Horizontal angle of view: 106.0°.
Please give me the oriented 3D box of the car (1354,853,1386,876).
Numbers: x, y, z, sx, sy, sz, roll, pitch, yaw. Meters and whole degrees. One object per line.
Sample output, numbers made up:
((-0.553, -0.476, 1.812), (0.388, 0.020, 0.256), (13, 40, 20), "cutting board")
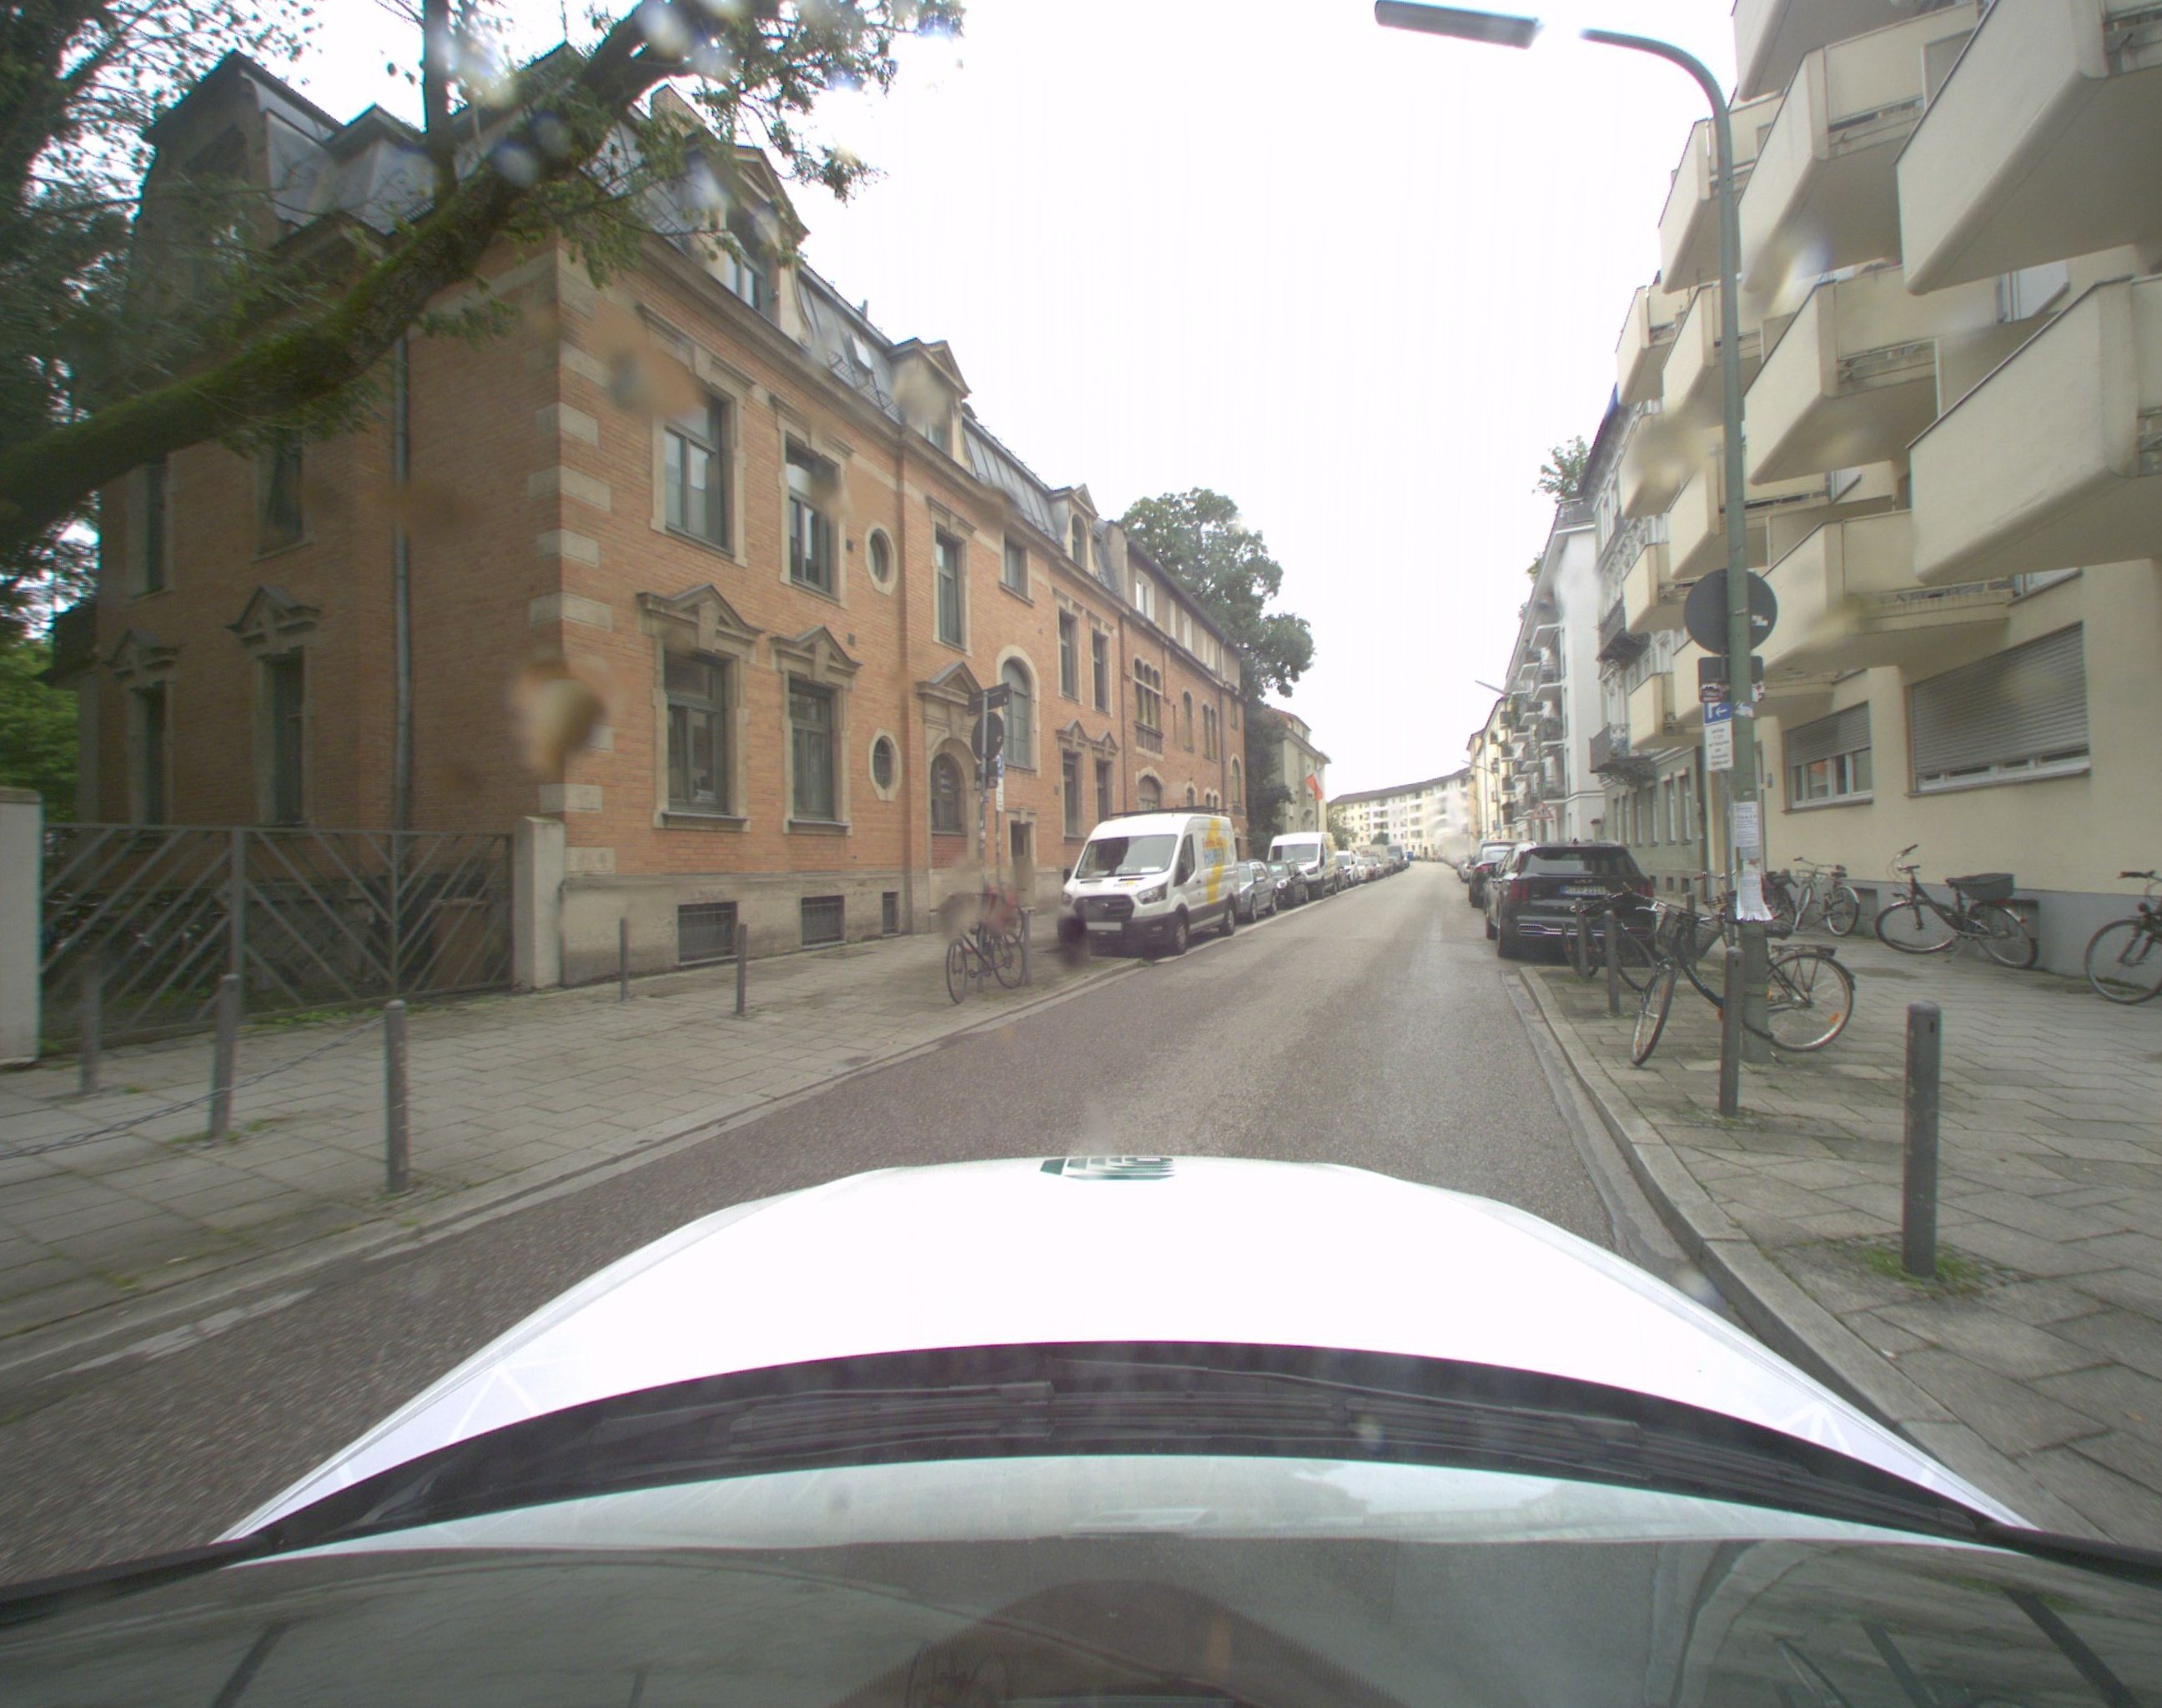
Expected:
((19.727, 0.689, 55.521), (1.779, 1.469, 3.888), (-3, -1, 23), "car")

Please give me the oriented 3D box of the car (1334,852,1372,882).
((15.332, 0.708, 45.862), (1.830, 1.540, 4.020), (-3, -1, 20), "car")

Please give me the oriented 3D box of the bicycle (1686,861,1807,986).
((7.041, 0.675, 8.706), (0.574, 1.154, 1.975), (-3, -1, 28), "bicycle")

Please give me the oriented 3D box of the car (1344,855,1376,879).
((17.252, 0.772, 50.238), (1.736, 1.368, 4.020), (-3, -1, 20), "car")

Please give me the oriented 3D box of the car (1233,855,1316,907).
((6.064, 0.789, 25.258), (1.682, 1.431, 3.852), (-4, -1, 25), "car")

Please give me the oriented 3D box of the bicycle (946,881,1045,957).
((-1.329, 1.000, 13.057), (0.574, 1.054, 1.906), (-2, -1, 28), "bicycle")

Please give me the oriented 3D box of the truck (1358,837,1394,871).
((22.370, -0.004, 61.697), (1.975, 2.319, 5.441), (-3, -1, 25), "truck")

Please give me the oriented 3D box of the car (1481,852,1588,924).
((10.368, 0.699, 18.896), (1.712, 1.459, 4.441), (-1, 0, 23), "car")

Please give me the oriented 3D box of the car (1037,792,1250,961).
((1.419, 0.380, 15.000), (1.974, 2.468, 5.502), (-5, -2, 24), "car")

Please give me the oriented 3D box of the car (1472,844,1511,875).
((21.111, 0.273, 42.004), (1.634, 1.434, 4.023), (-3, -1, 25), "car")

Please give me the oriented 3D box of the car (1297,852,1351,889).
((10.641, 0.679, 35.475), (1.728, 1.445, 4.022), (-3, -1, 23), "car")

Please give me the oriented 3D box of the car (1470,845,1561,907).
((12.399, 0.590, 23.501), (1.843, 1.551, 4.779), (-3, -1, 23), "car")

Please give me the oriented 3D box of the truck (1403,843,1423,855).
((69.194, -1.072, 169.665), (2.606, 2.300, 5.454), (-2, 0, 9), "truck")

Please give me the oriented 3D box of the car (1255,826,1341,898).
((8.160, 0.284, 30.193), (2.117, 2.349, 5.400), (-3, -1, 24), "car")

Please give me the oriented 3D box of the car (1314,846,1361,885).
((12.562, 0.550, 39.740), (1.805, 1.711, 4.021), (-3, -1, 22), "car")

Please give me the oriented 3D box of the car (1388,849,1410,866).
((36.135, 0.389, 92.456), (1.975, 1.762, 4.406), (-3, -1, 25), "car")

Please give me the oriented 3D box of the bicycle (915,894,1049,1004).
((-1.085, 1.038, 9.348), (0.574, 1.054, 1.773), (-3, -1, 28), "bicycle")

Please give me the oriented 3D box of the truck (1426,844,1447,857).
((64.580, -0.657, 148.082), (2.212, 2.300, 5.305), (-3, 0, 10), "truck")

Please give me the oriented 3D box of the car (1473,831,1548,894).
((14.947, 0.277, 28.578), (1.853, 1.968, 4.843), (-3, -1, 23), "car")

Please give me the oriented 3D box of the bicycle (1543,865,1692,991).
((5.578, 0.708, 8.609), (0.576, 1.154, 1.969), (-3, -1, 12), "bicycle")

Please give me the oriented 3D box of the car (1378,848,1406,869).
((28.593, 0.409, 74.865), (1.975, 1.762, 4.406), (-3, -1, 25), "car")

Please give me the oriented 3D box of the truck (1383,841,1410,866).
((31.357, -0.060, 80.887), (1.975, 2.319, 5.441), (-3, -1, 25), "truck")

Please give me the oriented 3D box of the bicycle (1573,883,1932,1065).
((4.500, 0.778, 5.570), (1.750, 1.066, 0.776), (-3, -1, 2), "bicycle")

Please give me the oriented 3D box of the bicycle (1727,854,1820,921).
((11.816, 0.548, 13.960), (0.575, 1.054, 1.771), (-3, -1, 19), "bicycle")

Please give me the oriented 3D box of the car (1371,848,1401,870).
((25.789, 0.426, 68.859), (1.975, 1.762, 4.406), (-3, -1, 25), "car")

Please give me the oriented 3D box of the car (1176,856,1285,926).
((3.856, 0.856, 20.448), (1.673, 1.454, 4.020), (-5, -2, 24), "car")

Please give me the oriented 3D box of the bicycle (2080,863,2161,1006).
((8.395, 0.610, 6.025), (0.574, 1.054, 1.773), (-3, -1, 28), "bicycle")

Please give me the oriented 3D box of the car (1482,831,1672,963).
((7.397, 0.575, 12.610), (1.833, 1.639, 4.575), (-3, -1, 23), "car")

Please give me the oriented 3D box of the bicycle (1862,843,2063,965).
((9.594, 0.508, 8.972), (0.682, 1.206, 1.771), (-3, -1, 18), "bicycle")

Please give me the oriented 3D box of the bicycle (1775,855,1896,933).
((11.072, 0.557, 12.028), (0.575, 1.054, 1.846), (-3, -1, 19), "bicycle")

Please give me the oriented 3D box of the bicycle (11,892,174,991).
((-12.695, 1.122, 10.448), (2.275, 1.180, 0.538), (-3, -1, 19), "bicycle")

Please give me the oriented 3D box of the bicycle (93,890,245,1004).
((-10.637, 1.066, 9.483), (2.057, 1.219, 0.539), (-3, -1, 23), "bicycle")
